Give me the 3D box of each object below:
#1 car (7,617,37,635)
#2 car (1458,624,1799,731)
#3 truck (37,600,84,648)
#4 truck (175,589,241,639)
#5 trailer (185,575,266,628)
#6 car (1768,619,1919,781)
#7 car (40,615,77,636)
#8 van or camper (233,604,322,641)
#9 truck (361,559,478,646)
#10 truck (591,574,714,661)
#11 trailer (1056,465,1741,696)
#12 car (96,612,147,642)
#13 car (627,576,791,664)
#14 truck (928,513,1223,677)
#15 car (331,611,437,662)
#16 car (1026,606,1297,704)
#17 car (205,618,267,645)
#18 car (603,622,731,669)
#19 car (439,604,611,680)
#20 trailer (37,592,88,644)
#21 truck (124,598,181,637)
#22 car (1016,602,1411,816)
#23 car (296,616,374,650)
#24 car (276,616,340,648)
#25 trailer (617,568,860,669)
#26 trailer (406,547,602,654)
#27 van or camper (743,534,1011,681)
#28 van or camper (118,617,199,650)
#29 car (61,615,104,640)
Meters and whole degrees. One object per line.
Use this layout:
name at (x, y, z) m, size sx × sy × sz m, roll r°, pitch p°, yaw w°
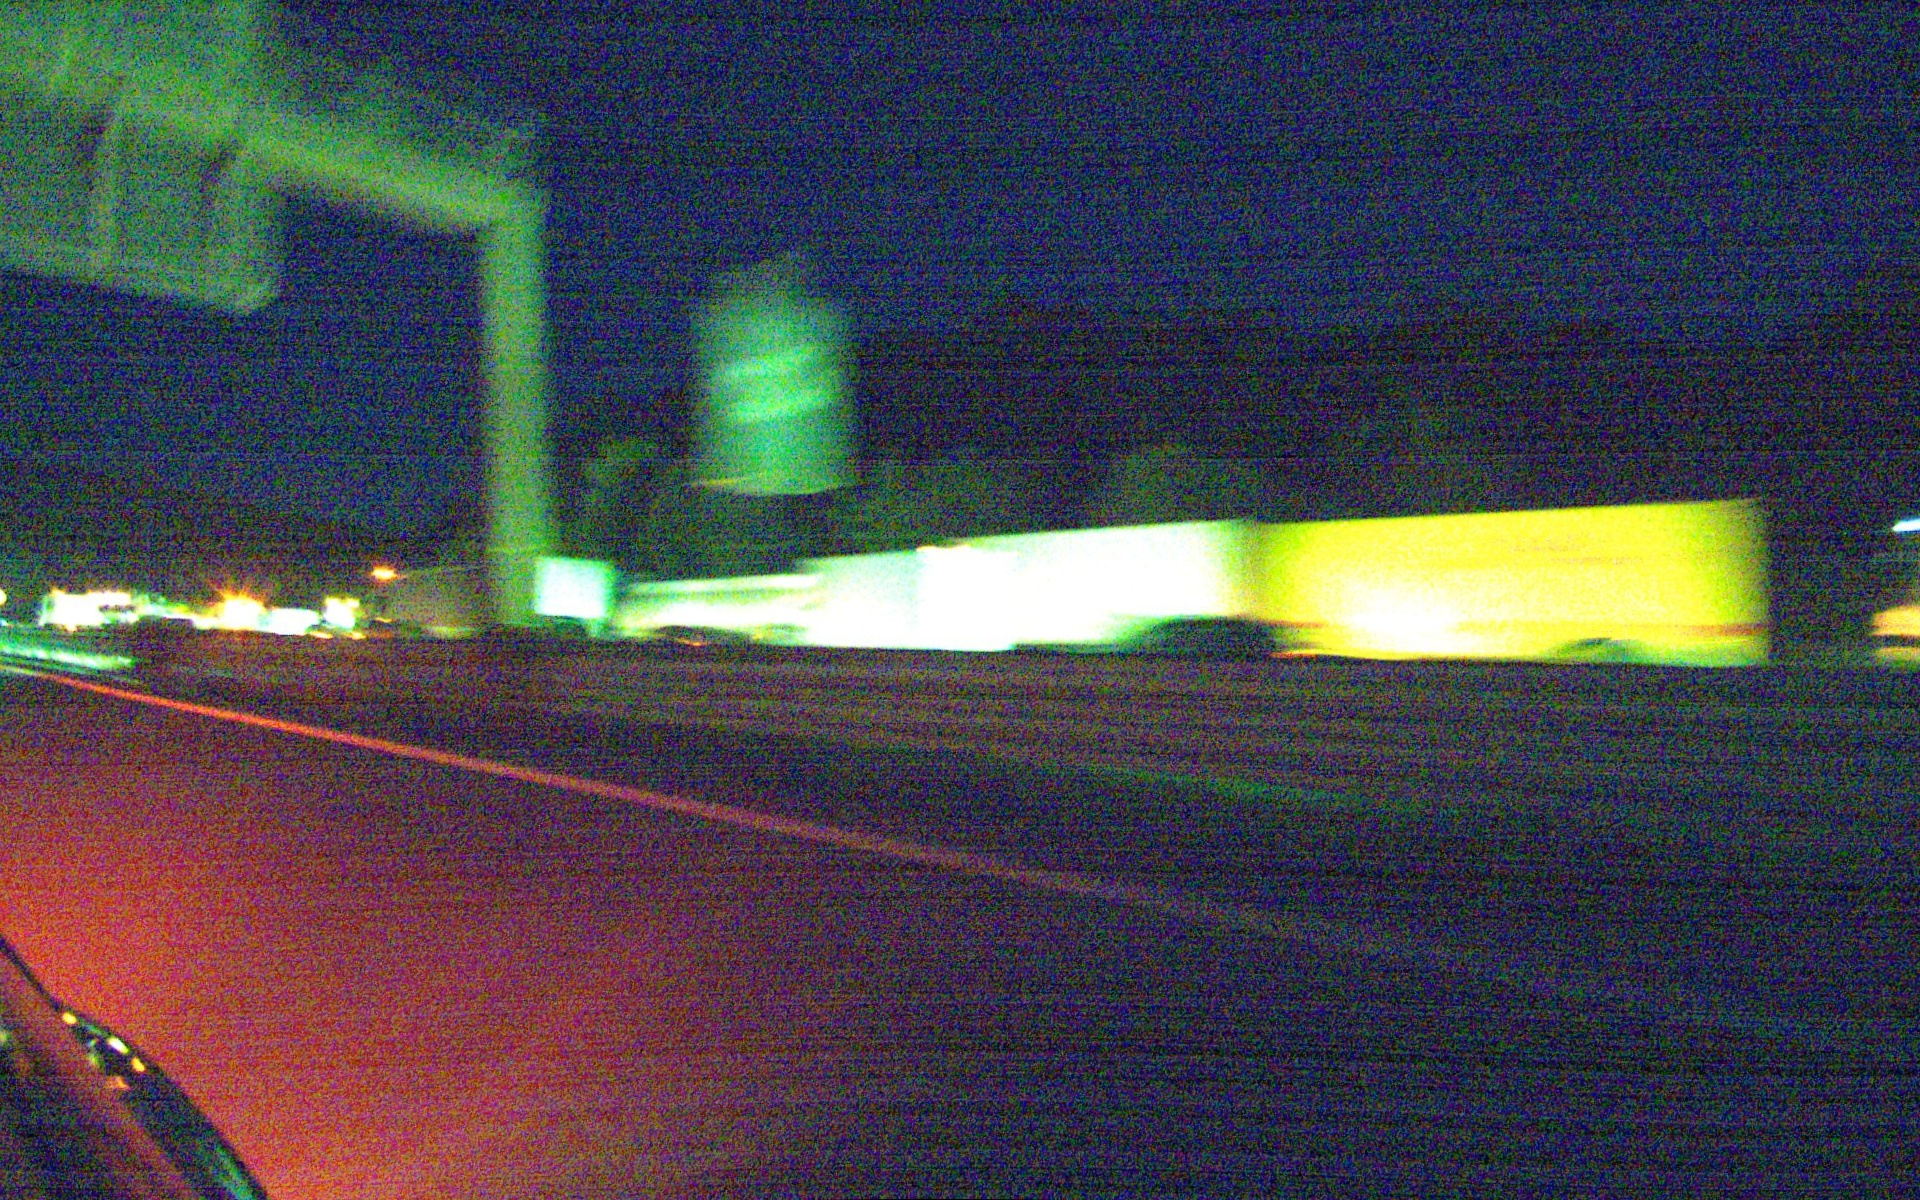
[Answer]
car at (-74.015, 2.034, 79.834) m, size 1.552 × 1.364 × 4.002 m, roll 2°, pitch -2°, yaw -45°
car at (9.662, 1.041, 14.817) m, size 3.998 × 1.364 × 1.554 m, roll -1°, pitch -2°, yaw 41°
truck at (-82.186, 2.087, 92.480) m, size 3.071 × 4.128 × 7.084 m, roll -1°, pitch 1°, yaw -42°
truck at (-51.073, 0.871, 68.673) m, size 5.796 × 3.243 × 2.614 m, roll 0°, pitch 1°, yaw 44°
trailer at (-47.299, 0.111, 65.071) m, size 9.005 × 3.200 × 2.577 m, roll 0°, pitch 0°, yaw 43°
car at (10.406, 0.977, 9.817) m, size 3.972 × 1.497 × 1.682 m, roll 0°, pitch 1°, yaw 38°
car at (-58.171, 1.650, 65.253) m, size 1.552 × 1.364 × 4.002 m, roll 2°, pitch -2°, yaw -45°
van or camper at (-39.616, 1.306, 58.606) m, size 7.634 × 2.029 × 2.165 m, roll -1°, pitch -2°, yaw 39°
truck at (-23.783, 0.200, 44.386) m, size 6.721 × 3.540 × 2.378 m, roll -2°, pitch -2°, yaw 42°
truck at (-12.217, 0.687, 40.094) m, size 4.903 × 3.235 × 2.370 m, roll -1°, pitch -1°, yaw 40°
trailer at (8.262, -0.214, 21.561) m, size 13.121 × 3.703 × 2.853 m, roll -1°, pitch -1°, yaw 40°
car at (-42.684, 1.366, 51.473) m, size 1.639 × 1.482 × 4.002 m, roll 2°, pitch -2°, yaw -45°
car at (-6.293, 0.443, 25.204) m, size 3.996 × 2.029 × 1.974 m, roll 0°, pitch 1°, yaw 39°
truck at (2.817, -0.023, 26.245) m, size 7.258 × 3.703 × 2.853 m, roll -1°, pitch -2°, yaw 40°
car at (-16.493, 1.023, 28.893) m, size 4.001 × 1.364 × 1.553 m, roll -1°, pitch -2°, yaw 44°
car at (3.093, 0.822, 16.032) m, size 3.999 × 1.364 × 1.553 m, roll -1°, pitch -2°, yaw 42°
car at (-37.160, 1.611, 51.920) m, size 4.240 × 1.364 × 1.776 m, roll -1°, pitch -2°, yaw 43°
car at (-9.170, 1.379, 31.482) m, size 4.639 × 1.364 × 1.554 m, roll -1°, pitch -2°, yaw 41°
car at (-8.732, 0.802, 20.169) m, size 3.998 × 1.364 × 1.554 m, roll -1°, pitch -2°, yaw 41°
trailer at (-76.812, 1.432, 86.577) m, size 3.053 × 4.119 × 12.465 m, roll -1°, pitch 1°, yaw -42°
truck at (-65.445, 1.436, 81.982) m, size 8.174 × 2.982 × 2.529 m, roll -1°, pitch -3°, yaw 44°
car at (2.850, 1.046, 11.700) m, size 3.994 × 2.029 × 1.975 m, roll 0°, pitch 1°, yaw 38°
car at (-26.287, 1.381, 42.520) m, size 4.240 × 1.364 × 1.776 m, roll -1°, pitch -2°, yaw 43°
car at (-28.756, 1.393, 44.594) m, size 1.552 × 1.364 × 4.002 m, roll 2°, pitch -2°, yaw -45°
trailer at (-8.400, 0.655, 36.857) m, size 11.172 × 3.235 × 2.369 m, roll -1°, pitch -1°, yaw 40°
trailer at (-17.905, 0.084, 39.186) m, size 11.172 × 3.655 × 2.369 m, roll -1°, pitch -1°, yaw 41°
van or camper at (-2.328, 0.253, 26.019) m, size 7.389 × 3.297 × 2.407 m, roll -1°, pitch -2°, yaw 41°
van or camper at (-34.742, 1.427, 43.821) m, size 5.349 × 1.364 × 1.801 m, roll -1°, pitch -2°, yaw 41°
car at (-50.095, 1.559, 57.743) m, size 1.552 × 1.364 × 4.002 m, roll 2°, pitch -2°, yaw -45°
